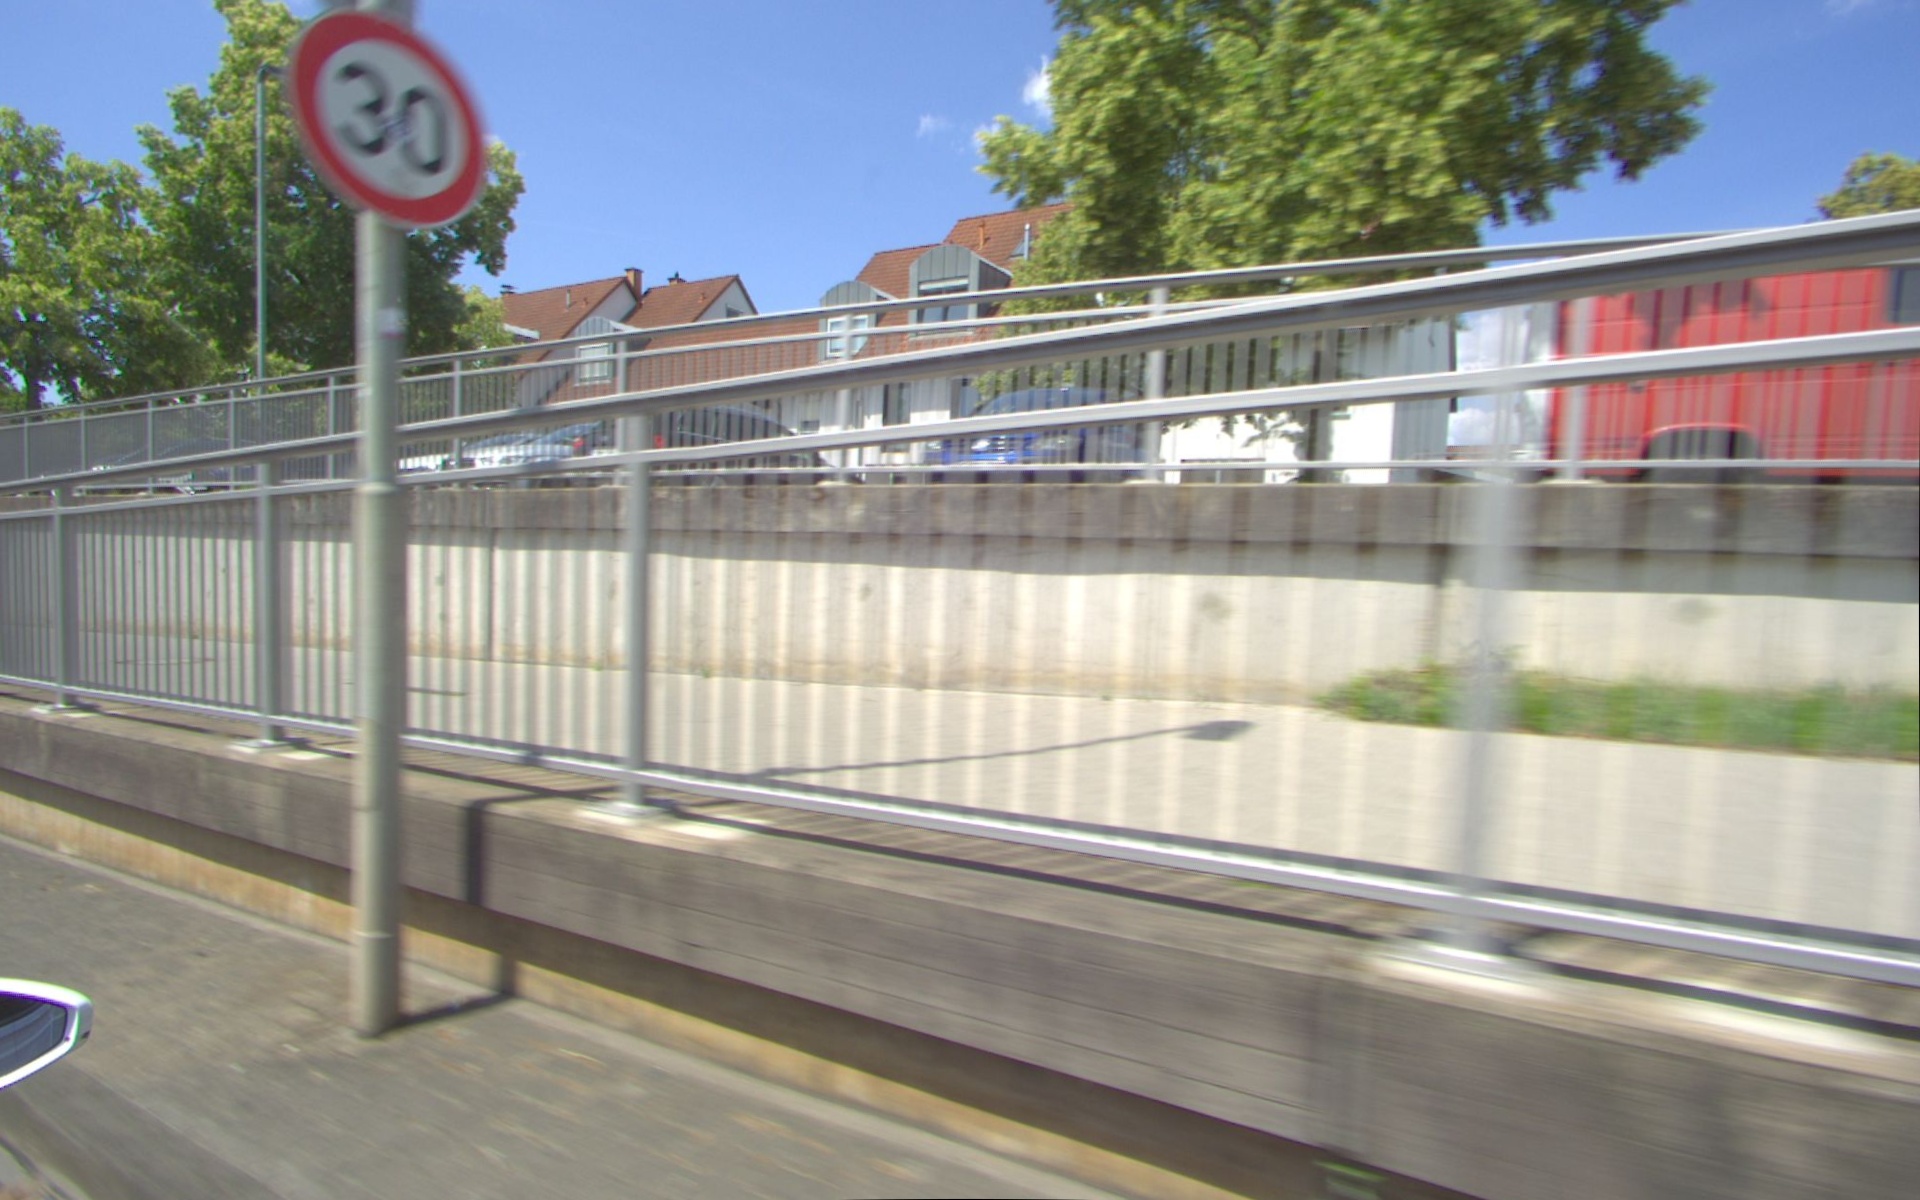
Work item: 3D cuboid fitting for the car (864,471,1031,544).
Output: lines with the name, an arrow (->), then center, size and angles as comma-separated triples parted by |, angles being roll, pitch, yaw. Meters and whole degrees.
car -> -0.205, -2.213, 24.668 | 1.970, 1.500, 4.474 | 4, 3, 32

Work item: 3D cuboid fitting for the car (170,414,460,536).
car -> -11.213, -2.070, 17.674 | 1.701, 1.576, 3.977 | 0, 0, 34

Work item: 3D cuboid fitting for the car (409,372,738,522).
car -> -5.164, -1.950, 13.861 | 1.700, 1.447, 3.977 | 3, 1, 34

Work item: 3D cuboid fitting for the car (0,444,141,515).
car -> -25.025, -3.269, 27.232 | 1.746, 1.505, 3.976 | 0, -1, 35

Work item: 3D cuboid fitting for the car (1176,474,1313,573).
car -> 6.074, -1.497, 21.085 | 1.836, 1.650, 3.982 | 0, -1, 30

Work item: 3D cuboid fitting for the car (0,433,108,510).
car -> -26.919, -3.675, 28.347 | 1.746, 1.793, 3.976 | 0, -1, 35

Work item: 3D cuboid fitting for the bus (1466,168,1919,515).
bus -> 7.354, -1.990, 8.412 | 5.282, 2.400, 2.184 | 4, 4, 31

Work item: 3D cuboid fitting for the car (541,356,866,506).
car -> -3.120, -2.028, 12.967 | 1.747, 1.325, 3.977 | 1, 2, 32

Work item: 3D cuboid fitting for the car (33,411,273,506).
car -> -18.364, -3.133, 22.948 | 1.746, 1.505, 3.976 | 0, -1, 35

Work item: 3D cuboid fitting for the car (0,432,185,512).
car -> -22.693, -3.231, 25.799 | 1.746, 1.505, 3.976 | 0, -1, 35

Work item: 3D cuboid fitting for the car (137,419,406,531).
car -> -13.166, -2.299, 19.373 | 1.701, 1.576, 3.977 | 0, 0, 34

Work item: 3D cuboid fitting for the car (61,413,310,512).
car -> -16.752, -2.885, 21.842 | 1.746, 1.505, 3.976 | 0, -1, 35

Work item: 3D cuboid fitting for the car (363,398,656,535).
car -> -7.003, -1.976, 15.938 | 1.701, 1.576, 3.977 | 0, 0, 34

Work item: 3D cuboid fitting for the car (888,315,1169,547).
car -> 0.944, -1.567, 10.780 | 1.832, 1.650, 3.991 | 0, -1, 23

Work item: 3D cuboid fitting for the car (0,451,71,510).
car -> -29.224, -3.639, 29.720 | 1.746, 1.505, 3.976 | 0, -1, 35
